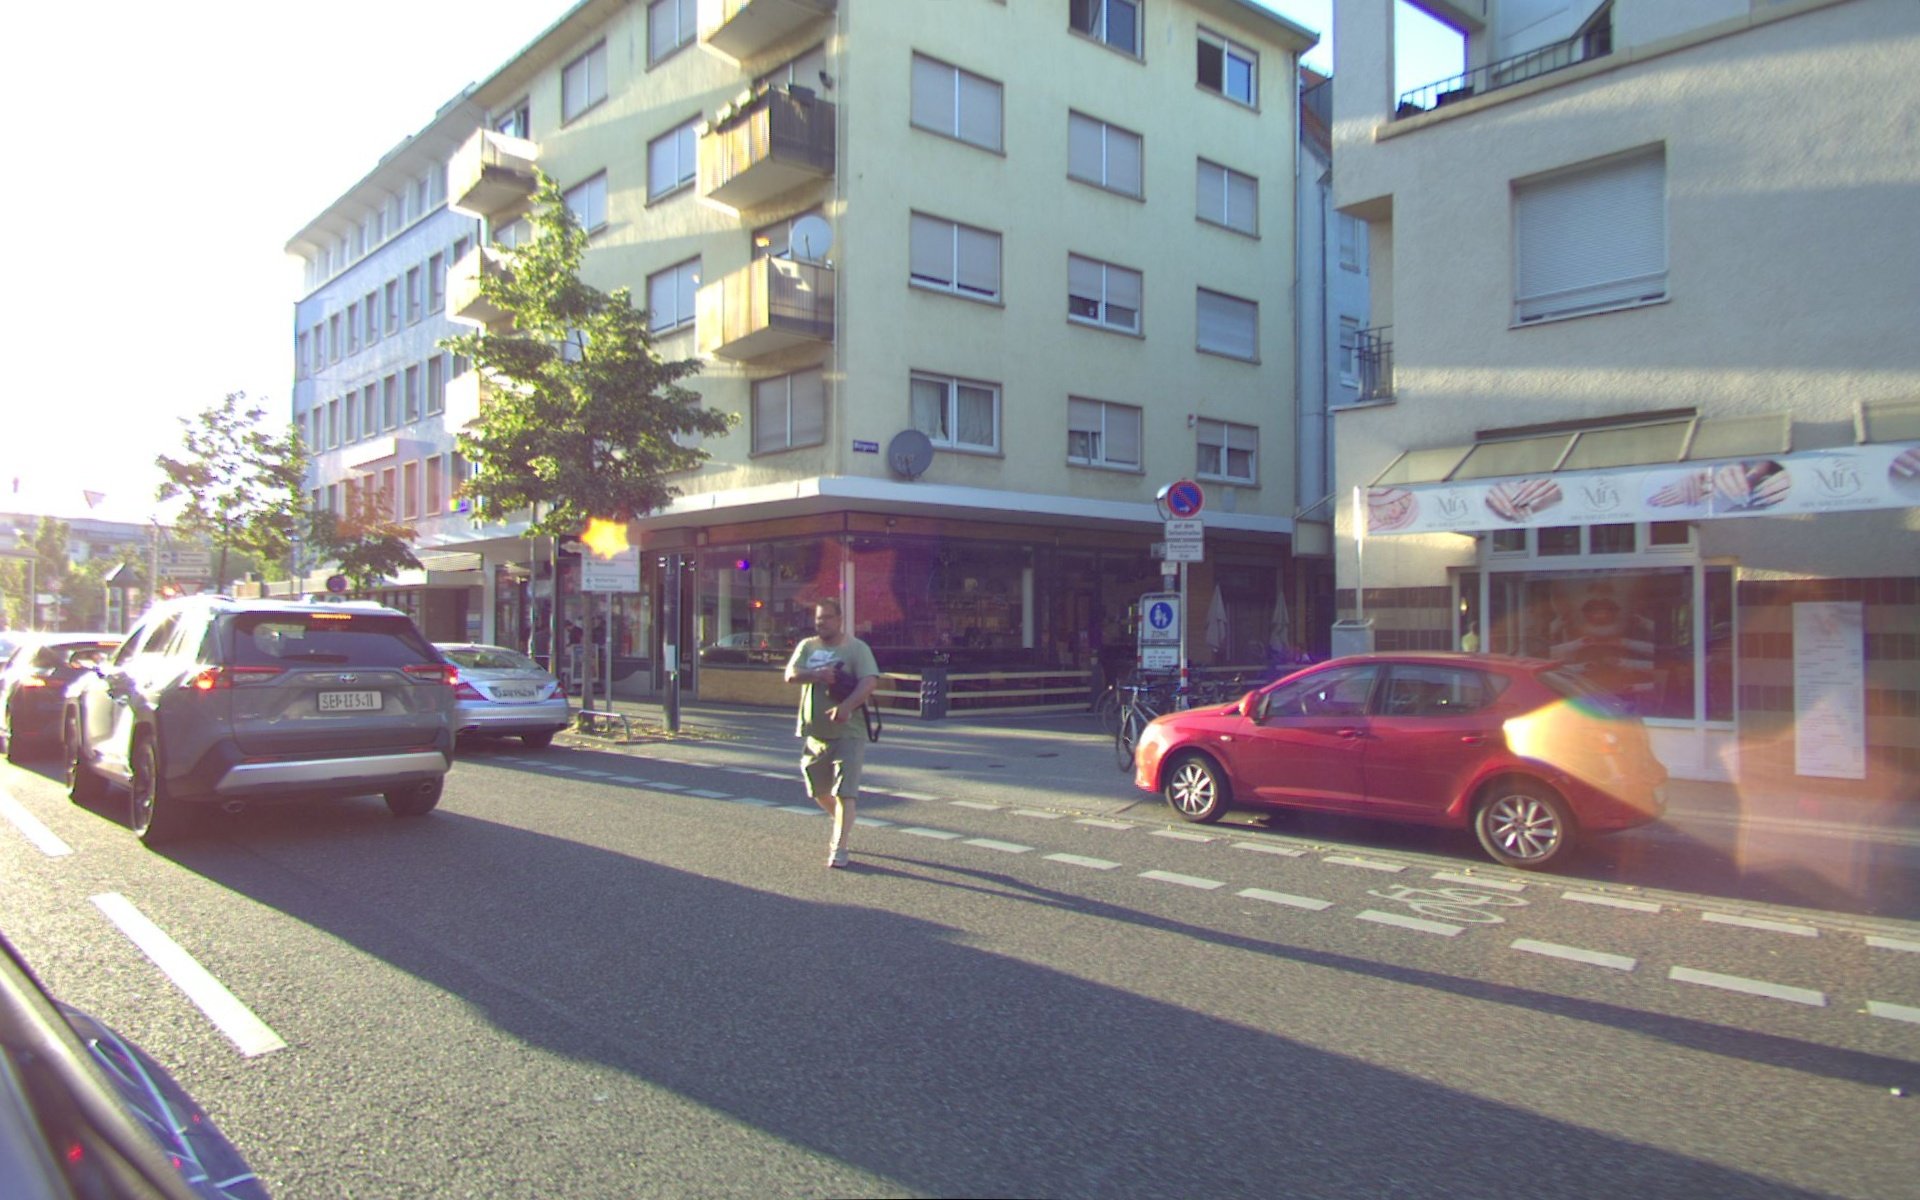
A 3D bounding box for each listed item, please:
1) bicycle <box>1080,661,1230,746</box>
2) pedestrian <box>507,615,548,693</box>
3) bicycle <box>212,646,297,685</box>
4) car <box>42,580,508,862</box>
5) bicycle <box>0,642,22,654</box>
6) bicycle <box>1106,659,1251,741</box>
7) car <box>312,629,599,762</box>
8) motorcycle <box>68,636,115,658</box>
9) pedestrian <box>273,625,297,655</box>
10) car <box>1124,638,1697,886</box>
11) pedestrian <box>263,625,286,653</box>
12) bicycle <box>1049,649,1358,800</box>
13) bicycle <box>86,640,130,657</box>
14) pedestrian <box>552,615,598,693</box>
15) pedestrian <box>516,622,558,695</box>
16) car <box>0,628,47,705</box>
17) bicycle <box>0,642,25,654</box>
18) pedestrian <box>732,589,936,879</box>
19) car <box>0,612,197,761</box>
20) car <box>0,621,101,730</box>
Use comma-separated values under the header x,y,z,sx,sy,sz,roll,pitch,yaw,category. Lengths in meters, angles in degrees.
x,y,z,sx,sy,sz,roll,pitch,yaw,category
2.631,1.380,13.827,2.014,0.999,0.485,-1,0,40,bicycle
-10.591,1.312,24.782,0.758,1.862,0.744,1,-3,-39,pedestrian
-20.501,1.883,29.458,0.490,0.999,1.991,-1,0,37,bicycle
-5.763,0.768,8.249,4.735,1.657,1.920,-1,-3,40,car
-85.591,4.302,90.615,2.365,1.079,0.673,0,0,-42,bicycle
3.031,1.374,14.200,2.016,0.999,0.484,-1,-1,43,bicycle
-7.131,1.219,14.105,4.507,1.523,1.972,-1,-4,41,car
-59.772,3.225,69.644,2.416,1.376,0.780,0,-2,-44,motorcycle
-41.798,2.489,62.683,0.873,1.798,0.902,-1,0,16,pedestrian
3.423,1.064,8.104,3.882,1.413,1.643,-1,0,41,car
-42.741,2.412,63.105,0.896,1.689,0.778,-1,0,6,pedestrian
2.522,1.234,10.872,3.124,1.310,0.949,-1,0,40,bicycle
-57.085,3.261,67.793,0.779,1.096,2.152,-1,-2,41,bicycle
-9.199,1.282,24.173,0.813,1.833,0.732,-3,-4,43,pedestrian
-9.933,1.356,23.785,0.758,1.689,0.744,0,-1,-6,pedestrian
-21.138,1.407,21.478,4.505,1.559,1.938,-3,-3,39,car
-84.327,4.270,89.546,2.365,0.966,0.673,0,0,-42,bicycle
-0.779,0.803,6.519,0.985,1.689,0.901,0,-4,18,pedestrian
-11.194,1.036,12.717,4.463,1.561,1.705,-3,-4,42,car
-16.231,1.185,17.139,4.614,1.657,1.925,-1,-3,42,car
